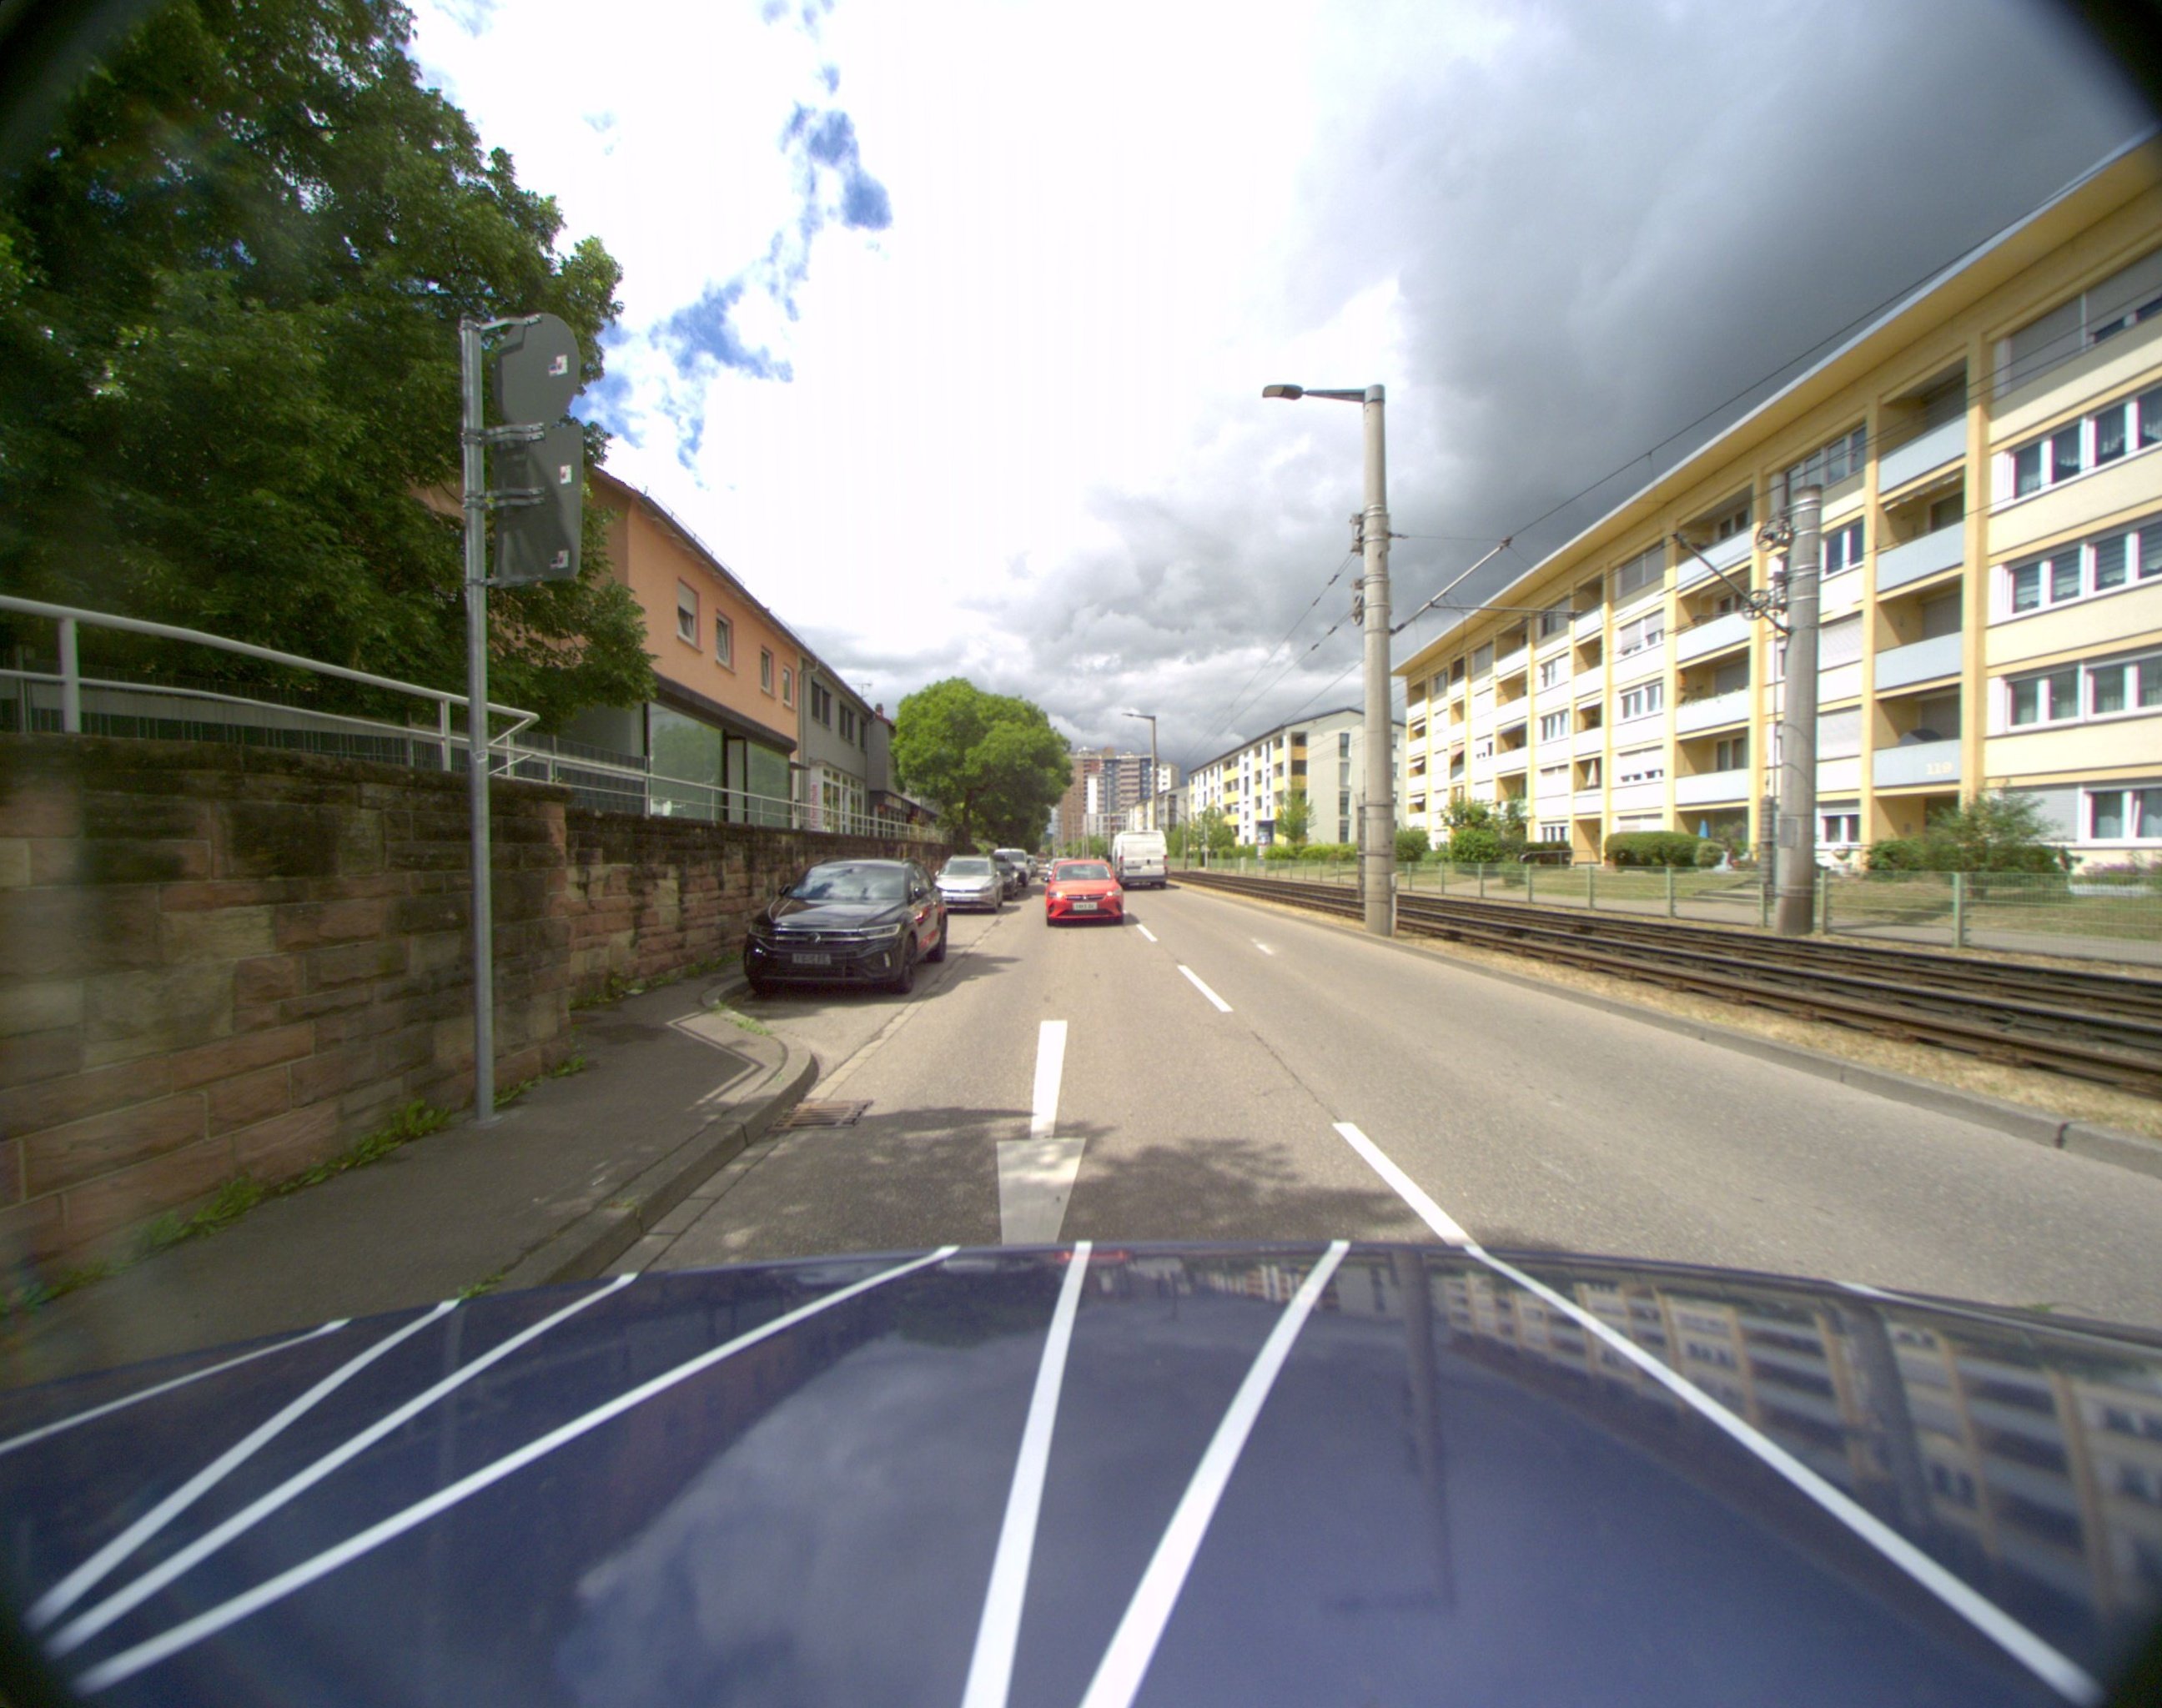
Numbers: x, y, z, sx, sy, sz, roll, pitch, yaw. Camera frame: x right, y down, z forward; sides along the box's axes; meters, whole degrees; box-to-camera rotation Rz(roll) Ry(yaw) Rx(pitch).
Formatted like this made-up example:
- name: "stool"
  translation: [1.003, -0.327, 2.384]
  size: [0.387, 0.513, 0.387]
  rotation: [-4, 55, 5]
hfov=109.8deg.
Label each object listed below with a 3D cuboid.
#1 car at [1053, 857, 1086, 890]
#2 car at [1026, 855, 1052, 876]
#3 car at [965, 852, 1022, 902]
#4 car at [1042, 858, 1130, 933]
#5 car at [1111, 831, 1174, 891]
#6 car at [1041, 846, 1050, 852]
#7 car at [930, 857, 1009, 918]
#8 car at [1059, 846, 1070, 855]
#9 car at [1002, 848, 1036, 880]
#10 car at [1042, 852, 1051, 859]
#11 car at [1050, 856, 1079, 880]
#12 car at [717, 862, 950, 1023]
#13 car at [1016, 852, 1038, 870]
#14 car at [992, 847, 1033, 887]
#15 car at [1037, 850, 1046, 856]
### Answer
- name: "car"
  translation: [-0.574, 0.884, 36.233]
  size: [1.499, 1.477, 3.519]
  rotation: [0, 1, -1]
- name: "car"
  translation: [-3.195, 0.886, 58.591]
  size: [1.854, 1.508, 4.810]
  rotation: [0, 1, -1]
- name: "car"
  translation: [-3.160, 0.773, 28.102]
  size: [1.760, 1.706, 3.999]
  rotation: [0, 1, -1]
- name: "car"
  translation: [0.049, 0.887, 17.950]
  size: [1.783, 1.434, 4.130]
  rotation: [-3, 1, -1]
- name: "car"
  translation: [2.627, 0.257, 33.520]
  size: [2.237, 2.460, 5.085]
  rotation: [0, 1, -1]
- name: "car"
  translation: [-10.182, -1.325, 215.836]
  size: [2.441, 1.717, 5.482]
  rotation: [0, 1, -1]
- name: "car"
  translation: [-3.098, 0.885, 21.915]
  size: [1.760, 1.559, 4.174]
  rotation: [1, 0, -1]
- name: "car"
  translation: [-3.594, -0.807, 166.127]
  size: [2.237, 2.051, 4.361]
  rotation: [0, 1, -1]
- name: "car"
  translation: [-3.911, 0.615, 48.485]
  size: [1.854, 1.926, 4.968]
  rotation: [0, 1, -1]
- name: "car"
  translation: [-9.145, 0.412, 202.169]
  size: [2.441, 1.717, 5.482]
  rotation: [0, 1, -1]
- name: "car"
  translation: [-0.978, 0.836, 47.143]
  size: [1.639, 1.346, 3.999]
  rotation: [-3, 1, 0]
- name: "car"
  translation: [-2.871, 0.923, 9.776]
  size: [1.760, 1.570, 4.021]
  rotation: [0, 1, -1]
- name: "car"
  translation: [-5.189, 0.632, 73.811]
  size: [1.854, 1.717, 4.810]
  rotation: [0, 1, -1]
- name: "car"
  translation: [-3.540, 0.613, 40.055]
  size: [1.854, 1.997, 4.968]
  rotation: [0, 1, -1]
- name: "car"
  translation: [-11.702, -0.368, 225.099]
  size: [2.441, 1.717, 5.482]
  rotation: [0, 1, -1]
